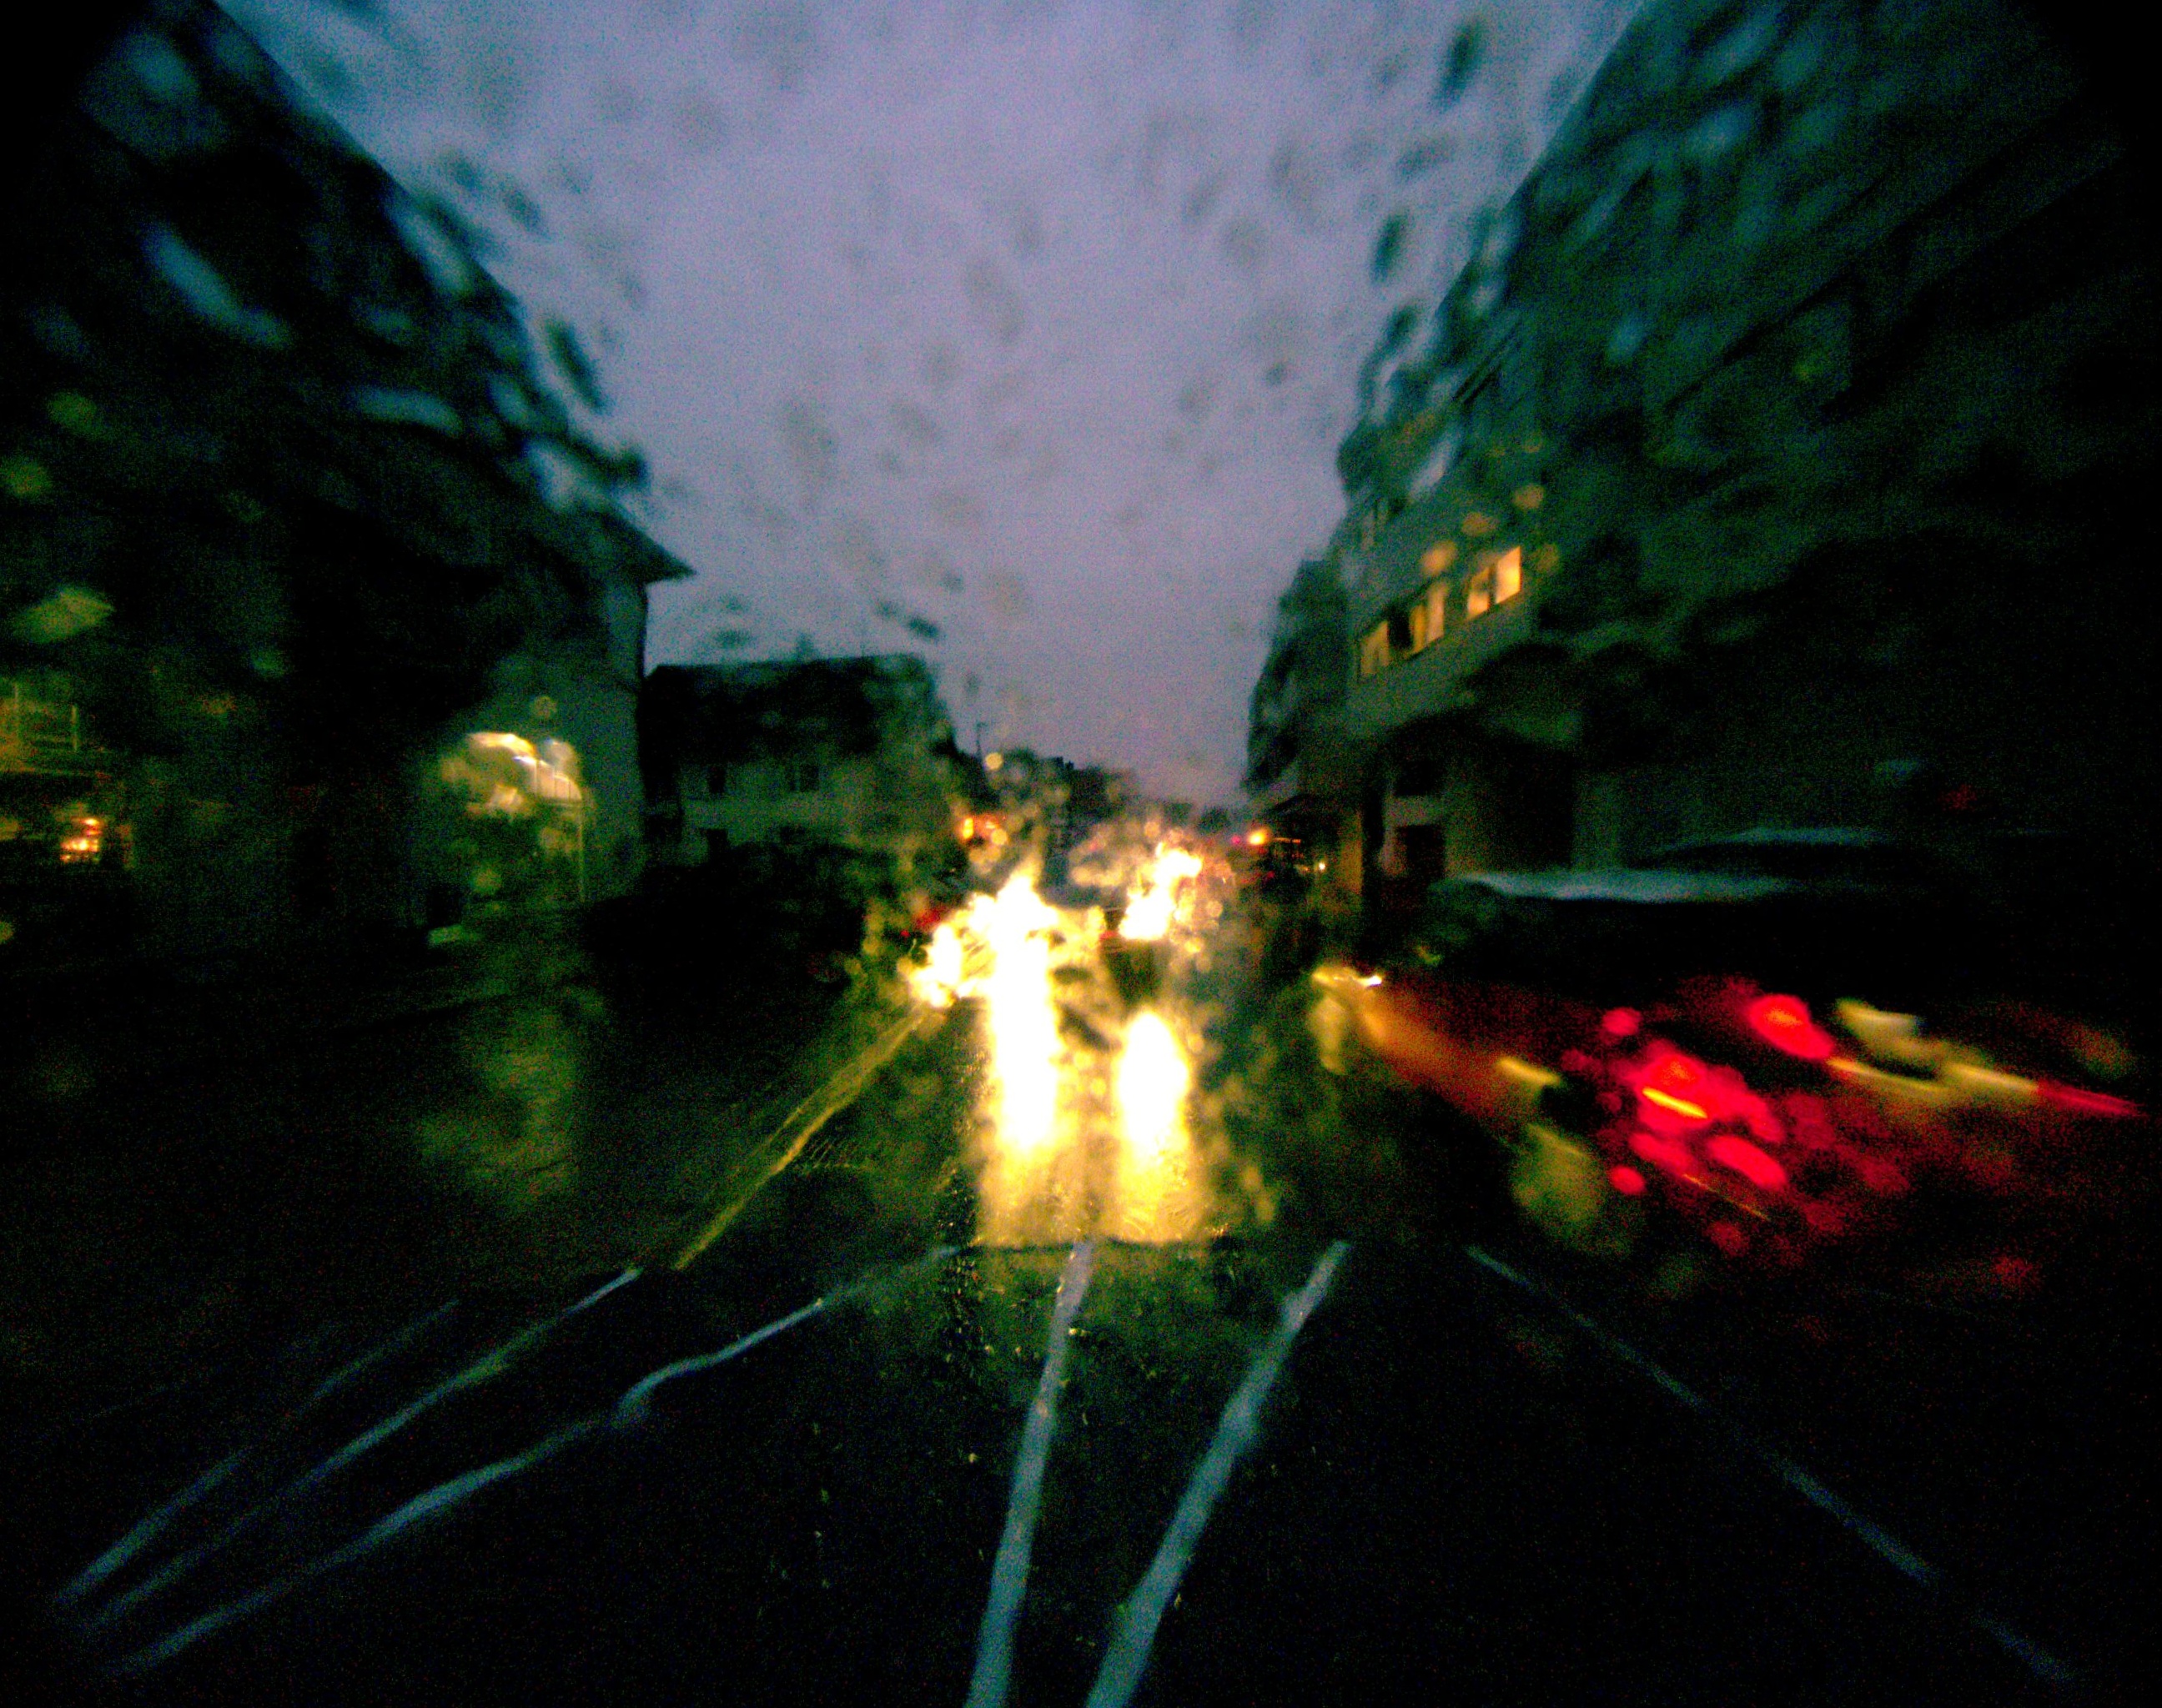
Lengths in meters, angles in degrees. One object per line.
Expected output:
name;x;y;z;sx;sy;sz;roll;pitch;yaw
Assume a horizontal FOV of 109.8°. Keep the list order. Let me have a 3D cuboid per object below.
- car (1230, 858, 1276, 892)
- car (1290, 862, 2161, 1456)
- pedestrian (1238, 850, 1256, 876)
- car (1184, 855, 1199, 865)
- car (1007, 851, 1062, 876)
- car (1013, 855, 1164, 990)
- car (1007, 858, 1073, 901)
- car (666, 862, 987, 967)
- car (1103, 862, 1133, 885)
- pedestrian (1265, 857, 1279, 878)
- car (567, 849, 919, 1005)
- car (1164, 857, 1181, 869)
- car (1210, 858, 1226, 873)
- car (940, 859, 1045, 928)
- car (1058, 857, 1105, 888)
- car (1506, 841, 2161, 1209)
car;7.987;0.931;35.583;1.678;1.438;4.430;-1;0;7
car;2.363;0.834;3.751;1.642;1.526;3.406;-1;0;-1
pedestrian;12.457;0.683;56.999;1.200;1.927;0.978;0;0;16
car;17.602;0.970;120.843;1.796;1.501;4.005;1;0;17
car;-3.040;0.622;50.391;3.295;1.433;1.687;3;1;8
car;0.133;0.882;11.739;1.878;1.622;4.000;-2;0;1
car;-1.473;0.908;29.014;1.798;1.452;4.532;1;0;6
car;-3.874;0.912;12.163;4.478;1.464;1.898;1;0;0
car;2.714;1.380;54.881;1.797;1.501;4.003;1;0;8
pedestrian;12.036;0.838;47.965;0.757;1.302;0.829;-2;0;7
car;-3.908;0.829;9.293;3.514;1.671;1.715;1;0;-4
car;12.111;1.150;100.382;1.797;1.501;4.004;1;0;13
car;15.450;1.266;85.624;1.724;1.604;3.819;-3;-1;10
car;-2.137;0.924;19.696;1.886;1.538;4.672;1;0;3
car;0.091;0.911;39.963;1.826;1.415;4.610;2;1;8
car;4.956;0.778;5.347;1.799;1.633;3.812;-2;0;1
